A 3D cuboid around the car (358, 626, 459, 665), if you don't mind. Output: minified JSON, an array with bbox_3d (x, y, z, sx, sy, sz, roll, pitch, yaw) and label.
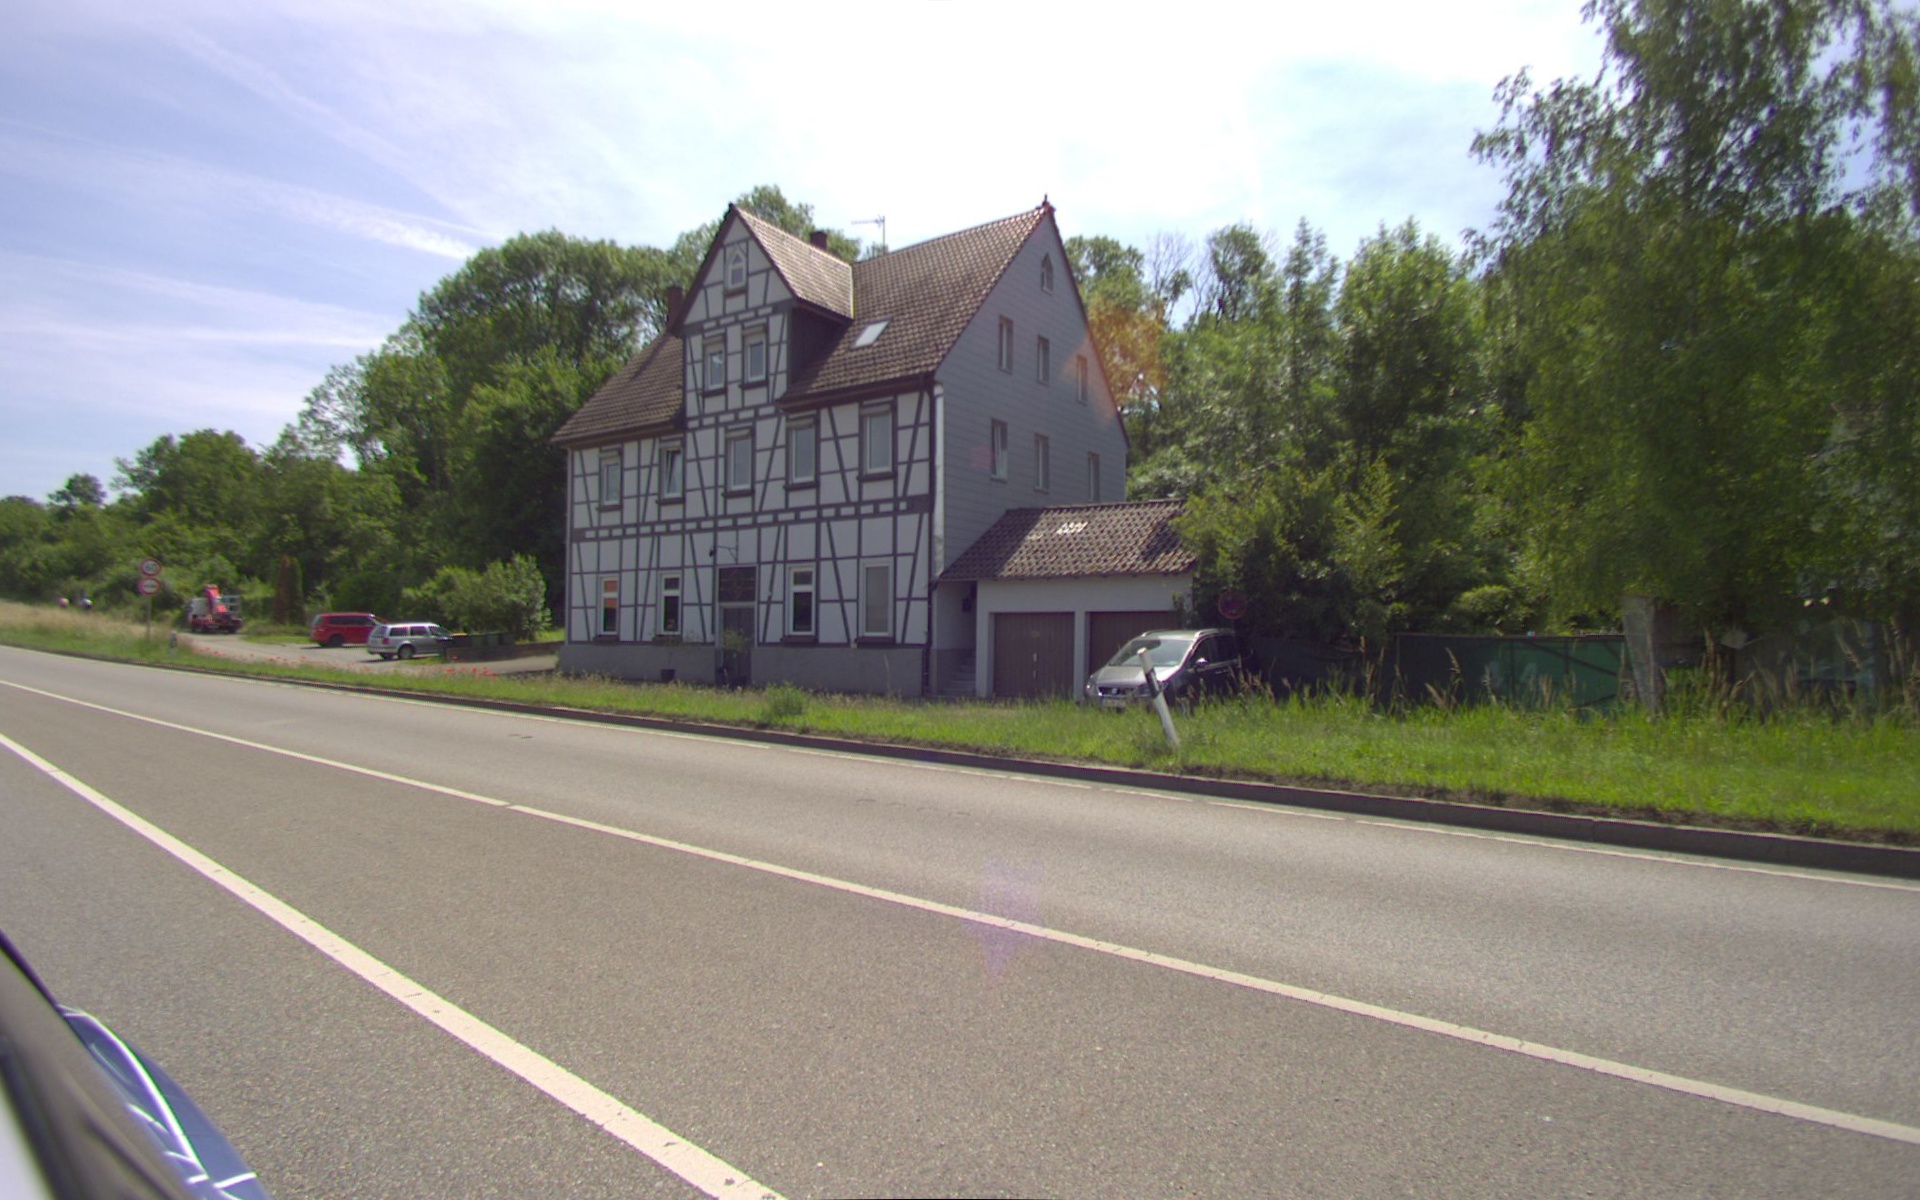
[{"bbox_3d":[-22.812,1.839,41.947,1.606,1.476,3.348,0,0,34],"label":"car"}]

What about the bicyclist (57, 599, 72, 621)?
[{"bbox_3d":[-68.140,0.750,77.045,0.935,1.607,0.740,0,0,41],"label":"bicyclist"}]

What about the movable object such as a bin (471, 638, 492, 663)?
[{"bbox_3d":[-19.779,2.074,41.821,0.653,0.984,0.499,1,0,33],"label":"movable object such as a bin"}]

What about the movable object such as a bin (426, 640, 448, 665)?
[{"bbox_3d":[-20.834,2.088,40.319,0.653,0.943,0.499,1,0,33],"label":"movable object such as a bin"}]

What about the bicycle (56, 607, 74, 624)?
[{"bbox_3d":[-68.152,1.186,77.064,2.103,1.221,0.741,0,0,41],"label":"bicycle"}]

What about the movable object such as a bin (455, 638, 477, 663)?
[{"bbox_3d":[-20.144,2.052,41.267,0.653,0.978,0.499,1,0,33],"label":"movable object such as a bin"}]

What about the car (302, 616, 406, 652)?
[{"bbox_3d":[-29.527,1.641,49.405,1.832,1.631,3.985,0,0,41],"label":"car"}]

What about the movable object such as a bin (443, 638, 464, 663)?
[{"bbox_3d":[-20.410,2.025,40.777,0.653,0.977,0.499,1,0,33],"label":"movable object such as a bin"}]

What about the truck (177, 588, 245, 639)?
[{"bbox_3d":[-46.118,0.808,62.267,6.771,2.986,2.005,0,0,41],"label":"truck"}]

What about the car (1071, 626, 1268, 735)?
[{"bbox_3d":[4.070,1.412,19.081,1.858,1.733,4.621,-3,-2,36],"label":"car"}]

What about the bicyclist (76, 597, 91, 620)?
[{"bbox_3d":[-65.182,0.635,75.247,0.936,1.727,0.740,0,0,43],"label":"bicyclist"}]

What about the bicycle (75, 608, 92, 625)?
[{"bbox_3d":[-65.174,1.228,75.242,2.105,1.189,0.740,0,0,43],"label":"bicycle"}]
